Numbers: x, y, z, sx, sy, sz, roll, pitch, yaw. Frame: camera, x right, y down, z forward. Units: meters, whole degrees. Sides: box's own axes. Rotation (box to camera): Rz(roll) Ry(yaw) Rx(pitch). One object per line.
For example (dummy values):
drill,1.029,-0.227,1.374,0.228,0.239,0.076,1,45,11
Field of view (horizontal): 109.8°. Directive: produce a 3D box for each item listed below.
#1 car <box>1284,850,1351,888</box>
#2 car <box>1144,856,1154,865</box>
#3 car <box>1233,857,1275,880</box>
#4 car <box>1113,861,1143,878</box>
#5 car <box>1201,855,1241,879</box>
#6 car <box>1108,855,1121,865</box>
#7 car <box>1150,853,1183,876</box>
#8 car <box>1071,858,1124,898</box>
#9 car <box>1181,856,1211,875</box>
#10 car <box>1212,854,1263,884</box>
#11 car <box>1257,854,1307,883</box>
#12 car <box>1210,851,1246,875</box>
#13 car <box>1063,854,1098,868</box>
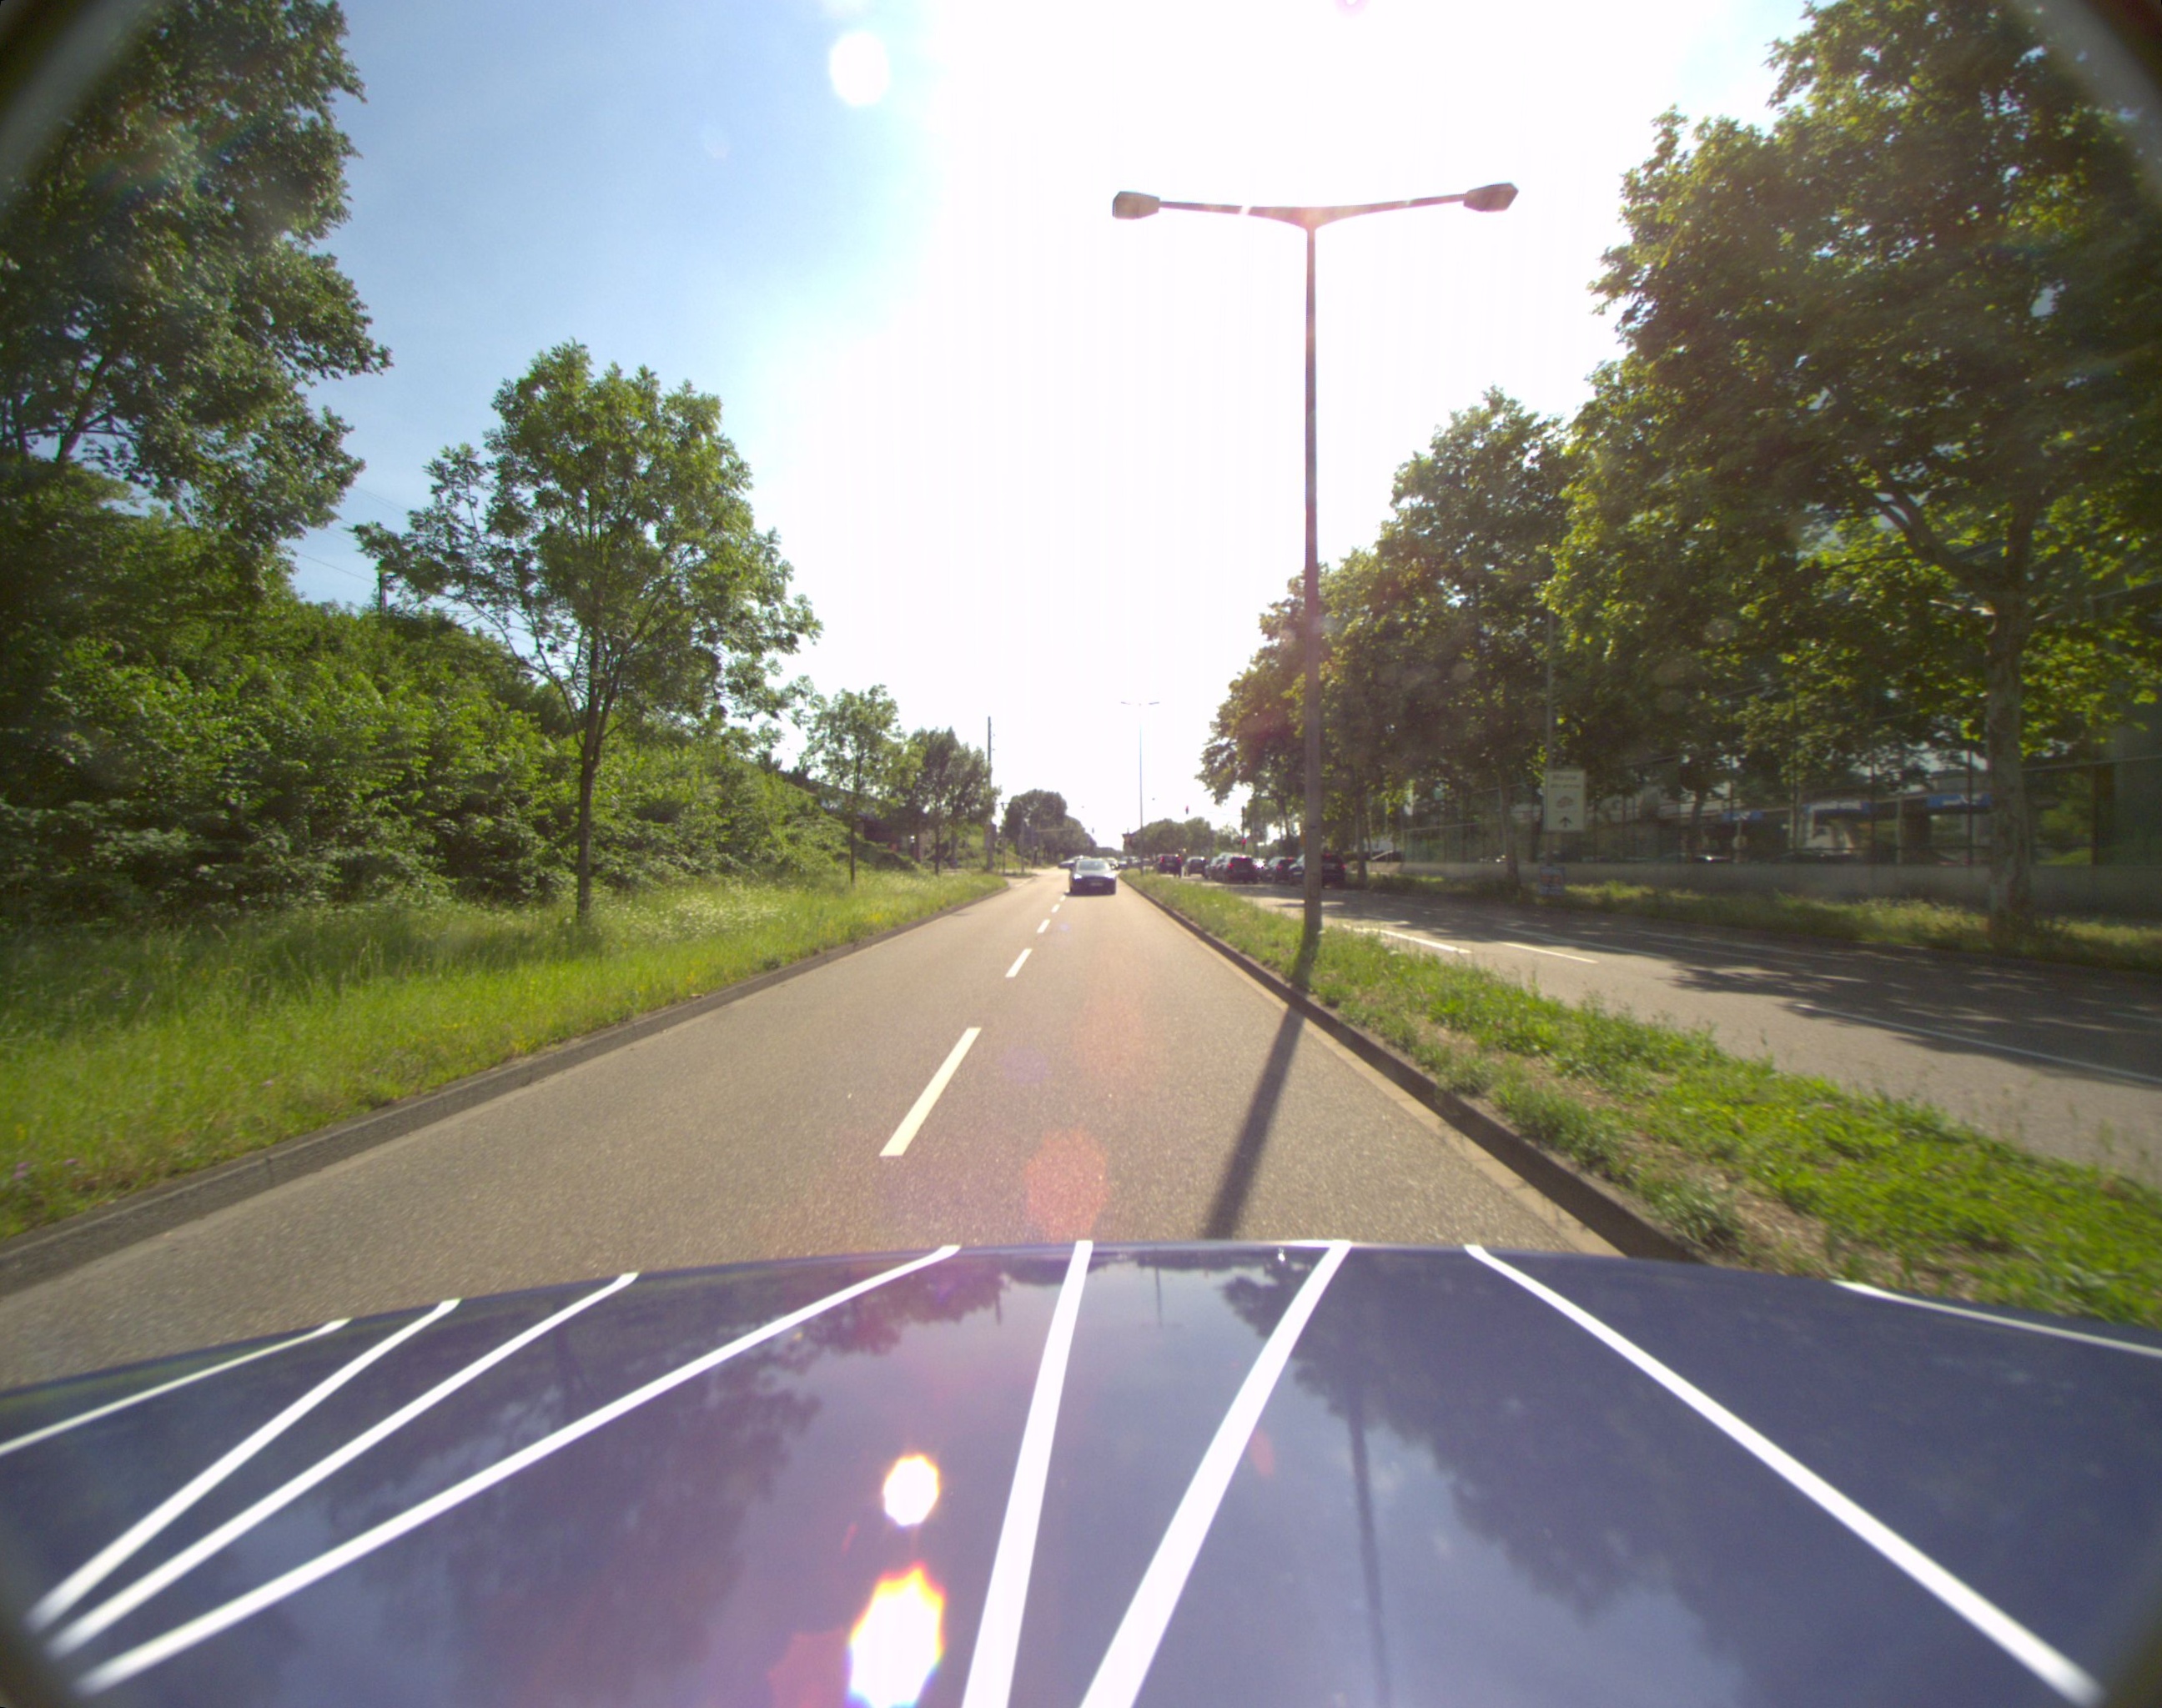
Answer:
car,12.045,0.742,39.056,1.998,1.824,4.651,1,0,0
car,13.896,1.283,155.362,1.998,1.713,5.168,-1,-2,5
car,11.926,0.954,52.697,1.895,1.441,5.004,1,0,1
car,4.972,1.635,80.148,1.995,1.699,4.438,0,0,20
car,9.165,0.840,50.043,1.840,1.454,4.517,2,0,1
car,5.530,1.001,124.766,1.714,1.498,4.004,-1,-2,6
car,6.225,0.780,55.757,1.812,1.605,4.491,0,0,-1
car,0.609,0.922,31.036,1.827,1.497,4.214,0,0,-4
car,9.176,0.922,60.917,1.766,1.466,3.958,0,0,0
car,8.842,0.841,43.375,1.998,1.601,4.496,0,-1,0
car,12.099,0.835,45.957,1.892,1.581,4.446,1,0,1
car,11.906,0.706,61.737,1.943,1.908,5.228,0,0,0
car,-0.095,0.844,94.601,4.007,1.619,1.768,0,0,-32
